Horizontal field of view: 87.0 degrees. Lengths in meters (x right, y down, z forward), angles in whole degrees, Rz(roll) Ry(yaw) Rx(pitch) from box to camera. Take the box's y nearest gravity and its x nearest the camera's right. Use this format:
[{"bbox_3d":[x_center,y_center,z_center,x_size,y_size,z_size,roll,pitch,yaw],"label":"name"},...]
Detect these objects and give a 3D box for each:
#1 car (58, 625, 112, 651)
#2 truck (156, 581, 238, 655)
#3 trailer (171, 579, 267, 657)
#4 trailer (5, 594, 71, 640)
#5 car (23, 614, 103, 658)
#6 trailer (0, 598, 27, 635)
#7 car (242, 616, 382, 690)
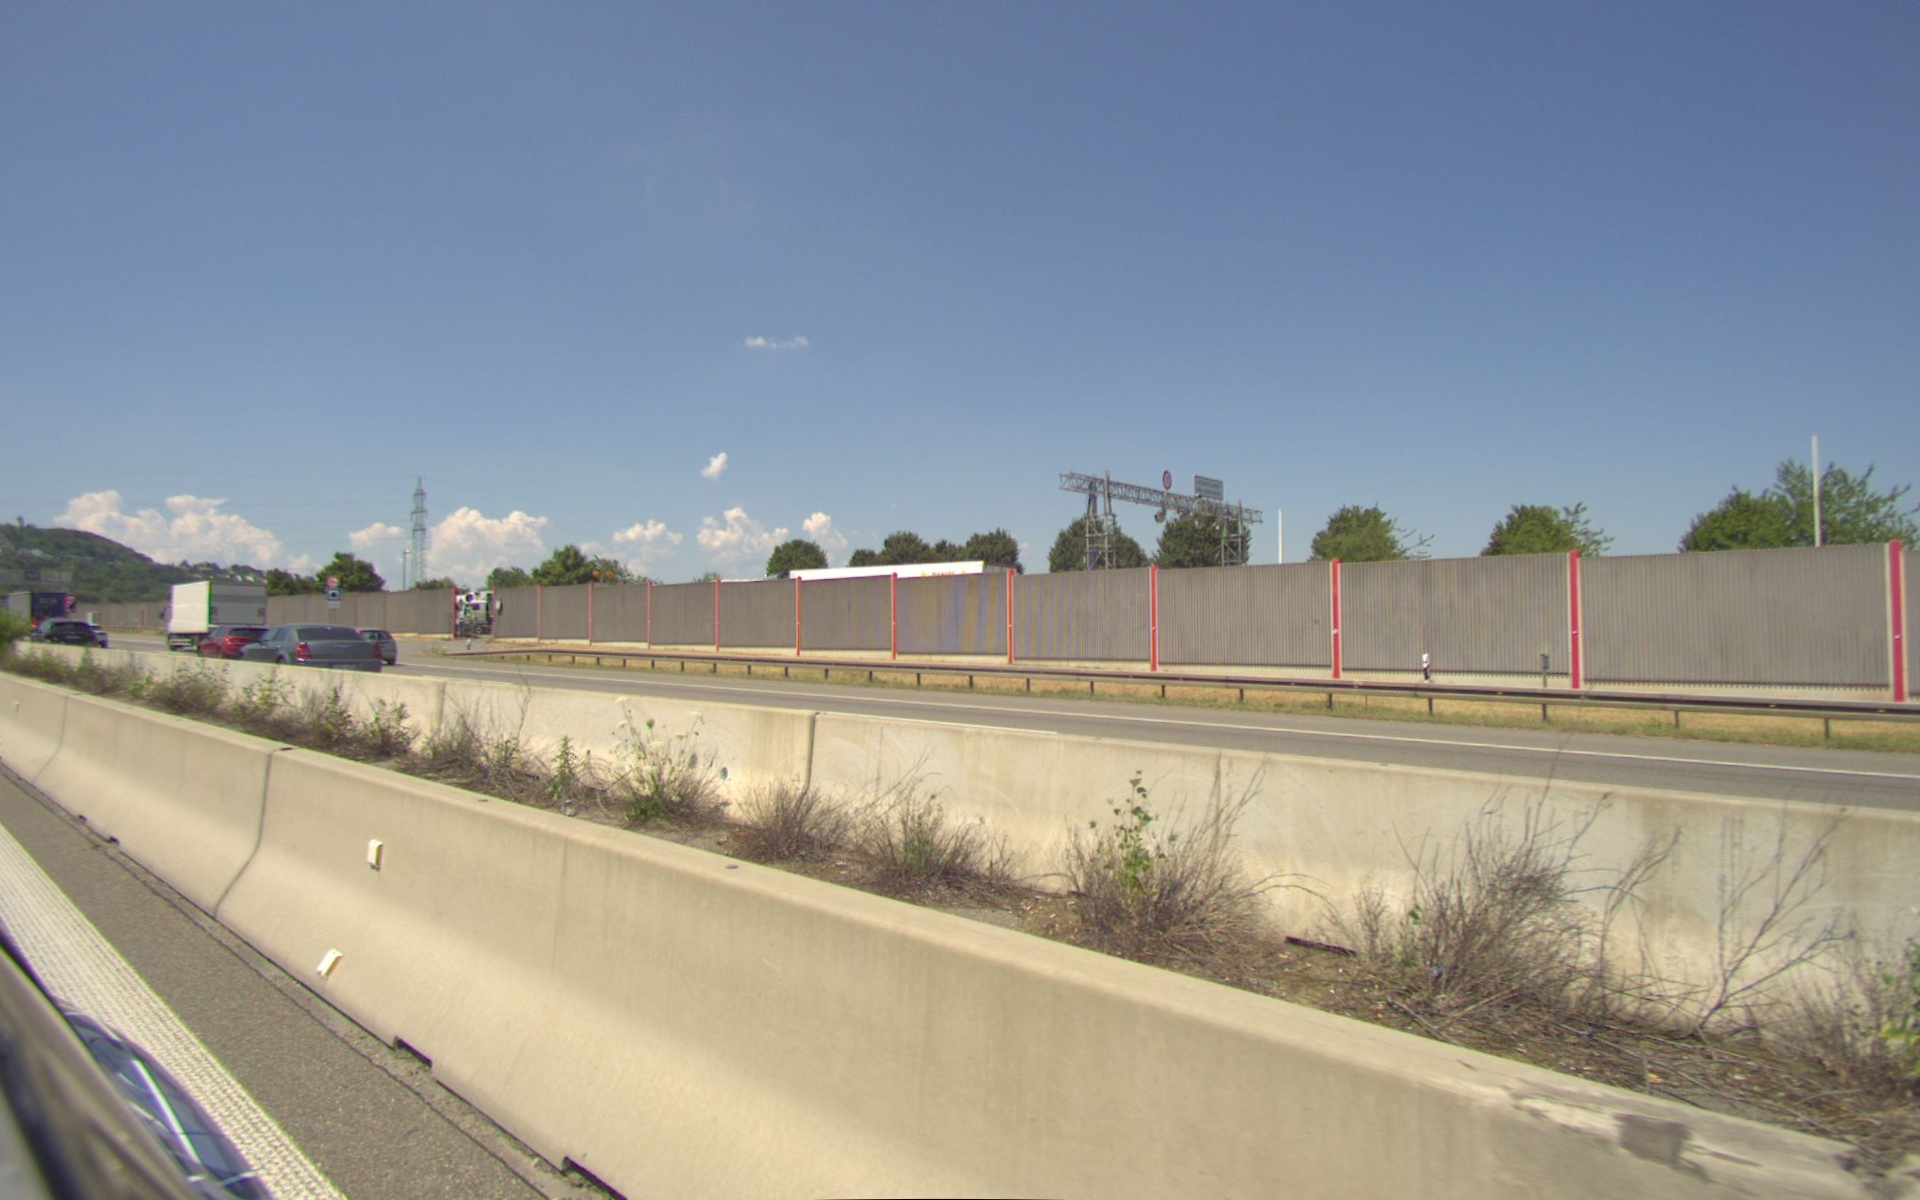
[{"bbox_3d":[-52.701,2.251,60.922,5.102,1.441,1.772,-1,-2,41],"label":"car"},{"bbox_3d":[-42.658,1.028,56.573,4.723,3.903,2.613,-1,-3,41],"label":"truck"},{"bbox_3d":[-39.399,0.964,53.742,6.613,3.903,2.620,-1,-3,41],"label":"trailer"},{"bbox_3d":[-88.389,1.608,96.897,15.155,4.097,2.953,-1,-1,41],"label":"trailer"},{"bbox_3d":[-38.442,1.521,43.347,4.641,1.772,1.973,-2,-2,41],"label":"car"},{"bbox_3d":[-112.854,1.878,118.915,14.383,4.087,3.222,0,0,41],"label":"trailer"},{"bbox_3d":[-14.835,1.137,23.107,3.998,1.530,1.638,-1,-1,41],"label":"car"}]
